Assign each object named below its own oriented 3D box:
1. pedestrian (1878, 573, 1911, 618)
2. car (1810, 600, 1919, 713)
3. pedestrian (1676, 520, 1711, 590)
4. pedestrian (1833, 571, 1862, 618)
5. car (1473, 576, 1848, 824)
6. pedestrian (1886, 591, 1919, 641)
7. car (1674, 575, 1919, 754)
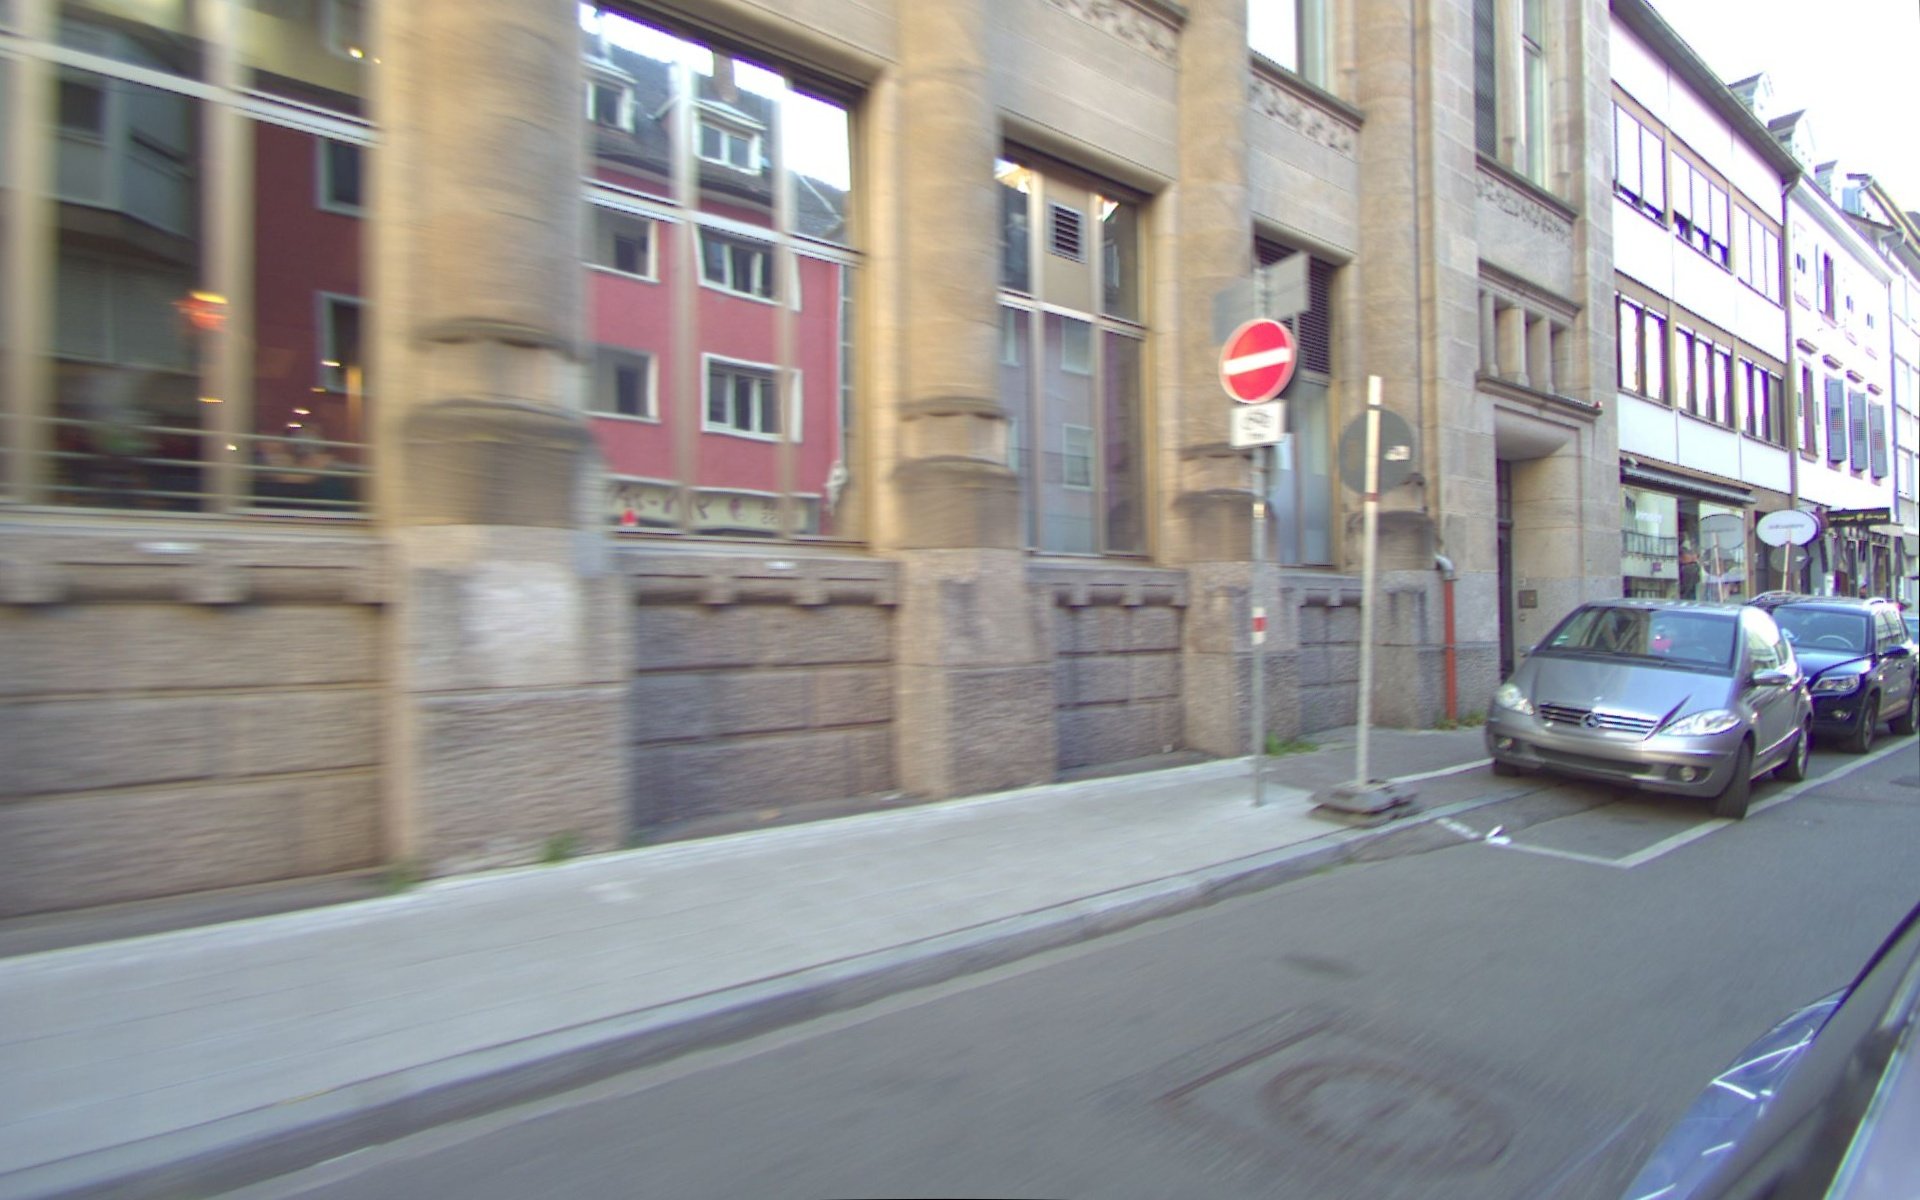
[{"bbox_3d":[26.388,-0.133,28.574,0.599,1.259,0.566,0,-1,-38],"label":"pedestrian"},{"bbox_3d":[14.733,0.779,15.477,4.900,1.536,1.693,0,-2,-39],"label":"car"},{"bbox_3d":[14.708,-0.886,20.282,0.417,1.367,0.437,0,-2,-41],"label":"pedestrian"},{"bbox_3d":[24.229,-0.159,27.629,0.599,1.259,0.467,0,-1,-39],"label":"pedestrian"},{"bbox_3d":[6.243,0.694,8.857,3.930,1.687,1.776,0,-1,-41],"label":"car"},{"bbox_3d":[24.314,0.405,25.957,0.634,1.259,0.736,0,-1,-38],"label":"pedestrian"},{"bbox_3d":[10.431,0.687,12.280,4.161,1.830,1.674,0,-2,-38],"label":"car"}]
